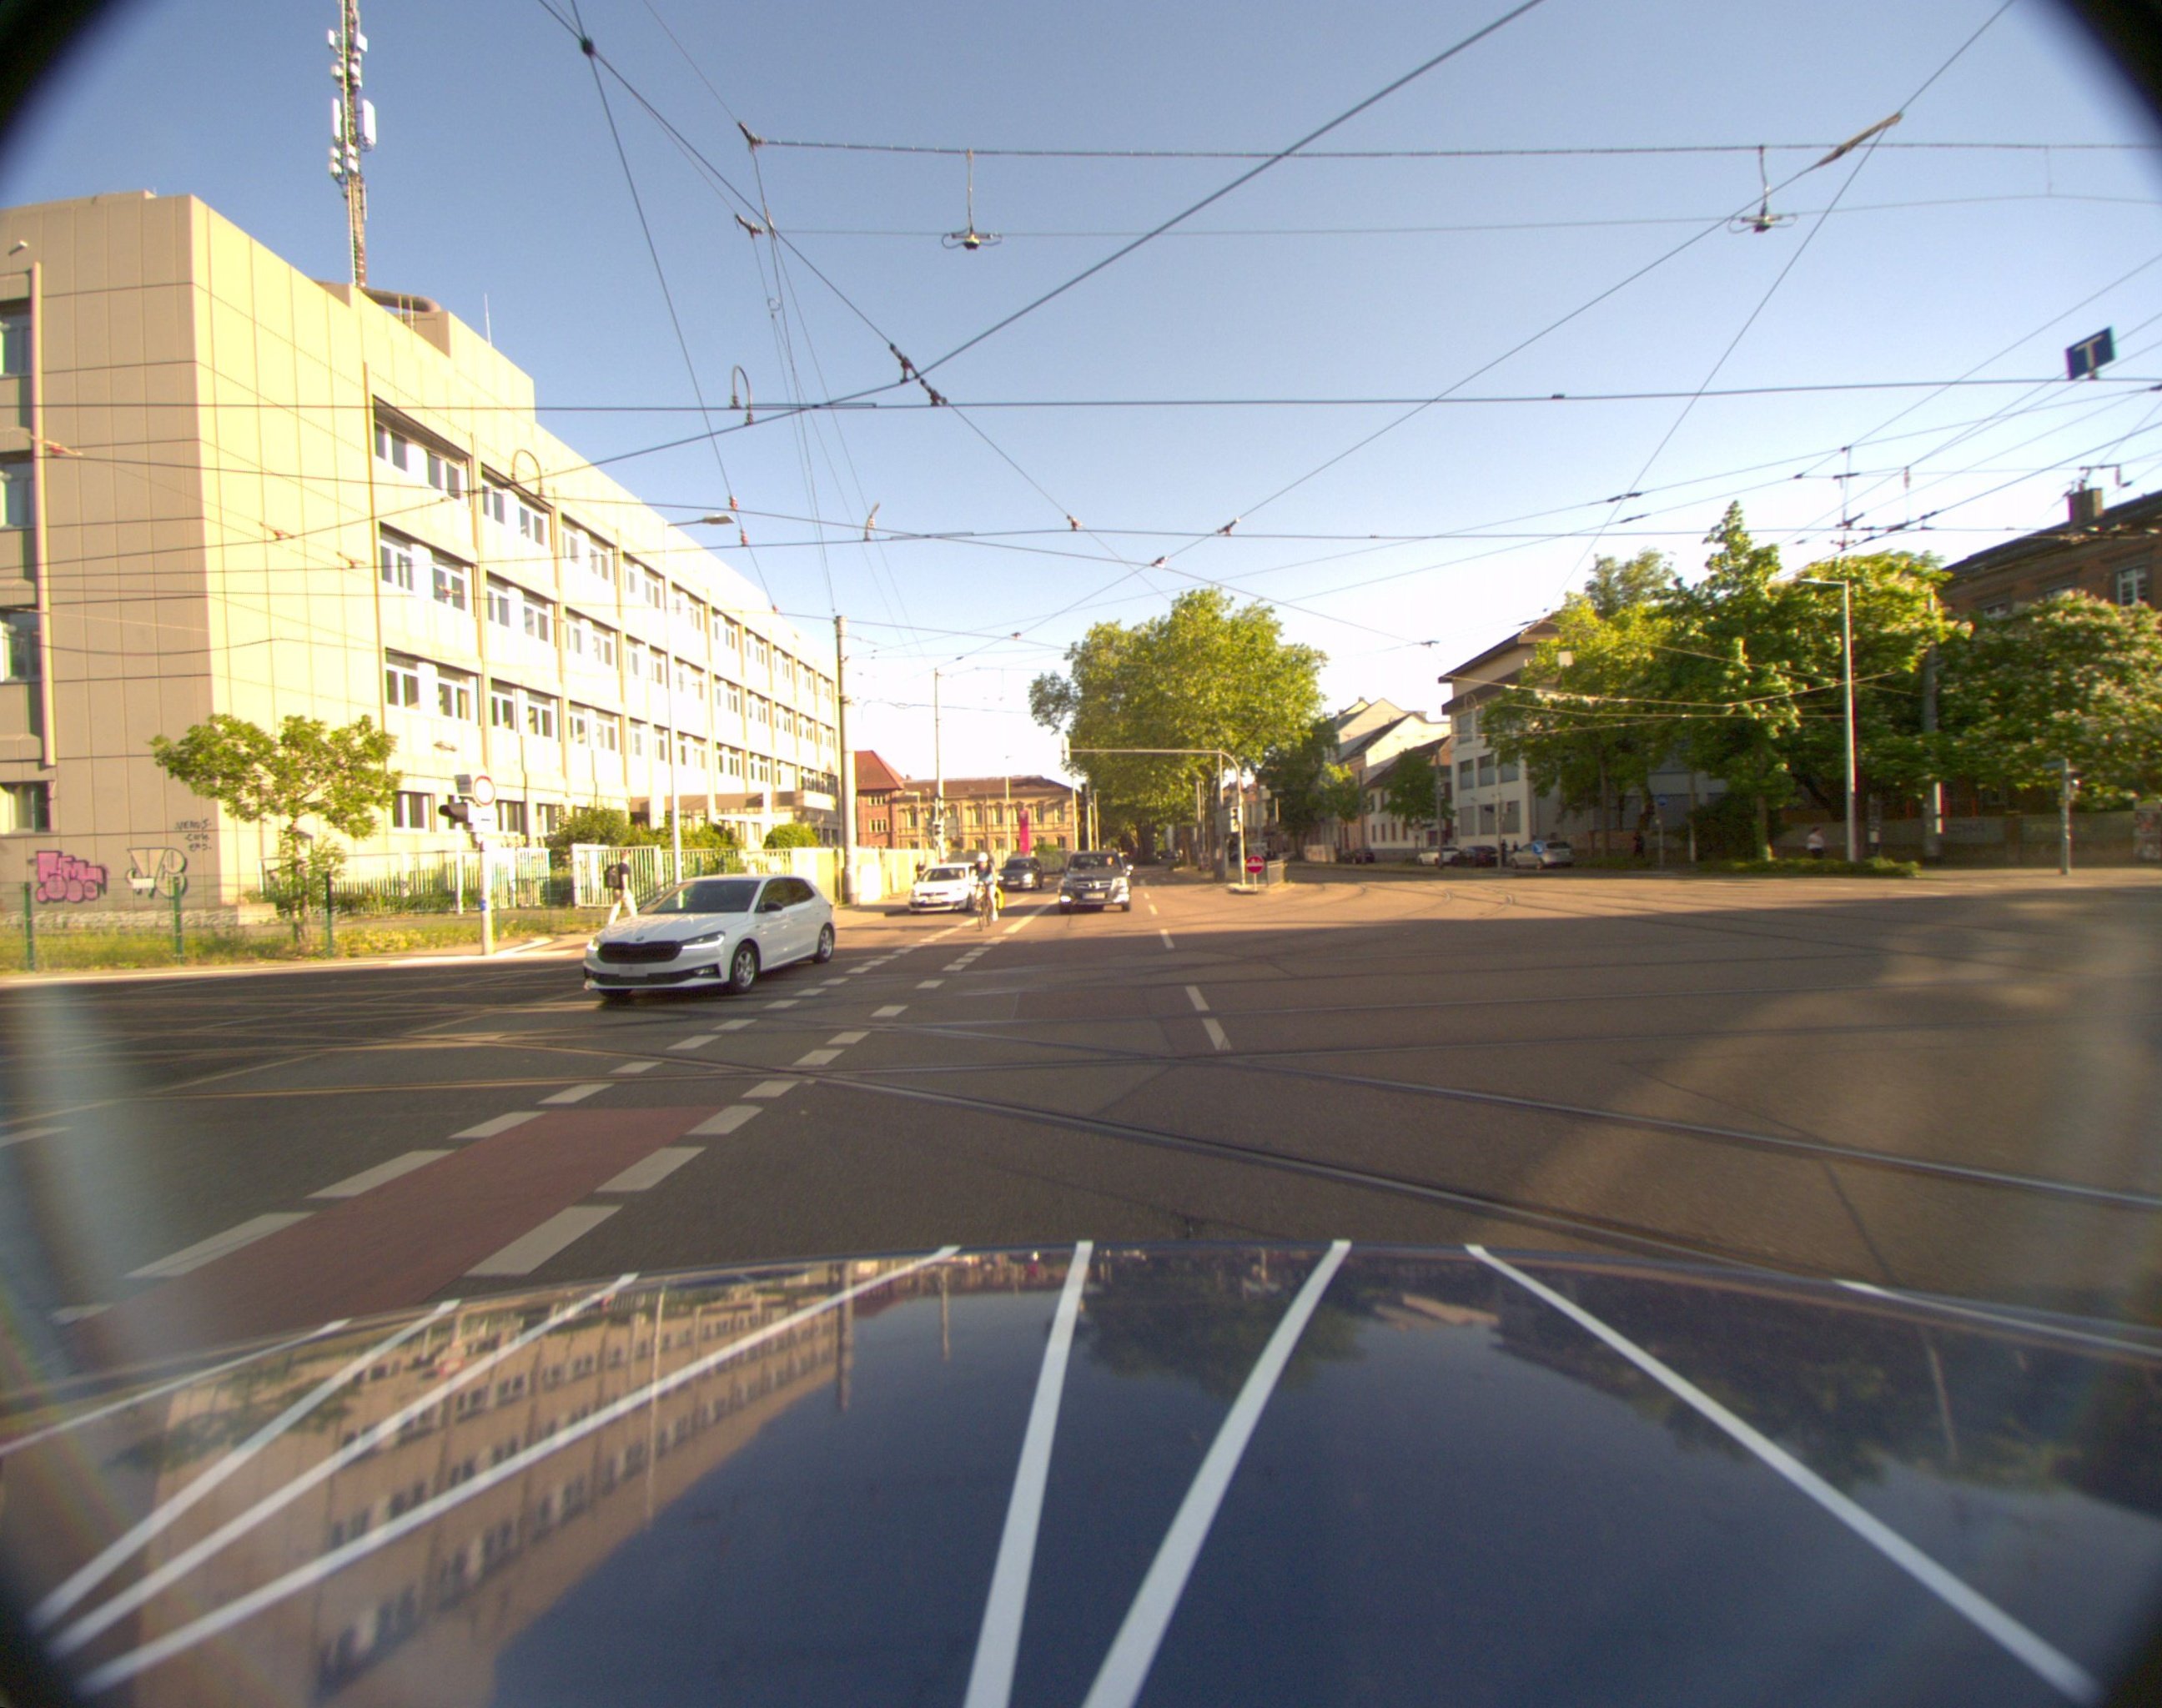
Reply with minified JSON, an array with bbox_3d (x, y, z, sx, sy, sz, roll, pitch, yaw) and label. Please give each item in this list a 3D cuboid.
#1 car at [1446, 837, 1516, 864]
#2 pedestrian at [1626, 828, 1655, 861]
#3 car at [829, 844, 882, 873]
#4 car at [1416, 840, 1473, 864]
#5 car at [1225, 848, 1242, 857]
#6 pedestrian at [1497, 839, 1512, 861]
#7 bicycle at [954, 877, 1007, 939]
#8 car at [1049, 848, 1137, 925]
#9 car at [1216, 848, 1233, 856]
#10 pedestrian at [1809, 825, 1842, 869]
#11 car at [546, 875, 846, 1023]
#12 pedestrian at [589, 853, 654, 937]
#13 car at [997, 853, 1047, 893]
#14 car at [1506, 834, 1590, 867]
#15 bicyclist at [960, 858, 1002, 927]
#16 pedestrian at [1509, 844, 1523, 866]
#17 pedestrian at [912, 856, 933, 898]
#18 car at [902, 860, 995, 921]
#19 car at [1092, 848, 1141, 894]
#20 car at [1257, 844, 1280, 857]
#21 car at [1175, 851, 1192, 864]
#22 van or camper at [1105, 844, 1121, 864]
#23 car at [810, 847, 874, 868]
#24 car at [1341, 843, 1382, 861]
[{"bbox_3d":[25.981,-0.208,49.540,2.087,1.493,4.457,-5,0,0],"label":"car"},{"bbox_3d":[29.640,-0.499,40.283,0.736,1.742,1.019,-2,1,0],"label":"pedestrian"},{"bbox_3d":[-15.356,0.261,52.022,1.998,1.832,4.786,-2,0,3],"label":"car"},{"bbox_3d":[26.380,-0.157,55.255,2.087,1.481,3.997,-5,0,0],"label":"car"},{"bbox_3d":[27.414,-0.240,136.527,2.087,1.531,4.516,-5,0,0],"label":"car"},{"bbox_3d":[28.681,-0.269,51.441,0.537,1.519,0.711,-2,1,-4],"label":"pedestrian"},{"bbox_3d":[-2.122,1.106,16.315,0.764,1.137,2.306,-2,0,0],"label":"bicycle"},{"bbox_3d":[0.390,0.748,19.849,1.908,1.634,4.517,-5,0,3],"label":"car"},{"bbox_3d":[28.240,-0.386,149.608,2.087,1.531,5.105,-5,0,0],"label":"car"},{"bbox_3d":[28.581,-0.266,29.172,0.569,1.655,0.631,-5,1,0],"label":"pedestrian"},{"bbox_3d":[-4.768,1.083,10.189,1.705,1.381,4.075,-3,0,3],"label":"car"},{"bbox_3d":[-10.311,0.890,17.058,1.084,1.802,0.735,-3,1,-41],"label":"pedestrian"},{"bbox_3d":[-2.793,0.873,36.870,1.793,1.634,4.302,-5,0,3],"label":"car"},{"bbox_3d":[26.180,-0.212,42.753,2.087,1.610,4.098,-5,0,0],"label":"car"},{"bbox_3d":[-2.139,0.808,16.345,0.728,1.414,0.859,-3,1,-1],"label":"bicyclist"},{"bbox_3d":[29.578,0.069,51.685,0.537,1.519,0.712,-2,1,2],"label":"pedestrian"},{"bbox_3d":[-6.761,0.978,32.522,0.592,1.752,0.770,-2,1,8],"label":"pedestrian"},{"bbox_3d":[-3.980,1.046,23.486,1.793,1.493,4.302,-5,0,3],"label":"car"},{"bbox_3d":[1.528,0.680,32.348,1.793,1.694,4.302,-5,0,3],"label":"car"},{"bbox_3d":[27.970,-0.494,113.564,2.087,1.664,4.532,-5,0,0],"label":"car"},{"bbox_3d":[14.852,0.489,109.803,1.998,1.761,4.000,-3,0,2],"label":"car"},{"bbox_3d":[4.421,-0.020,104.867,1.998,2.578,5.627,-3,0,3],"label":"van or camper"},{"bbox_3d":[-19.621,0.288,62.512,4.573,1.572,2.000,-2,0,2],"label":"car"},{"bbox_3d":[26.572,-0.212,72.243,2.087,1.461,4.579,-5,0,0],"label":"car"}]
